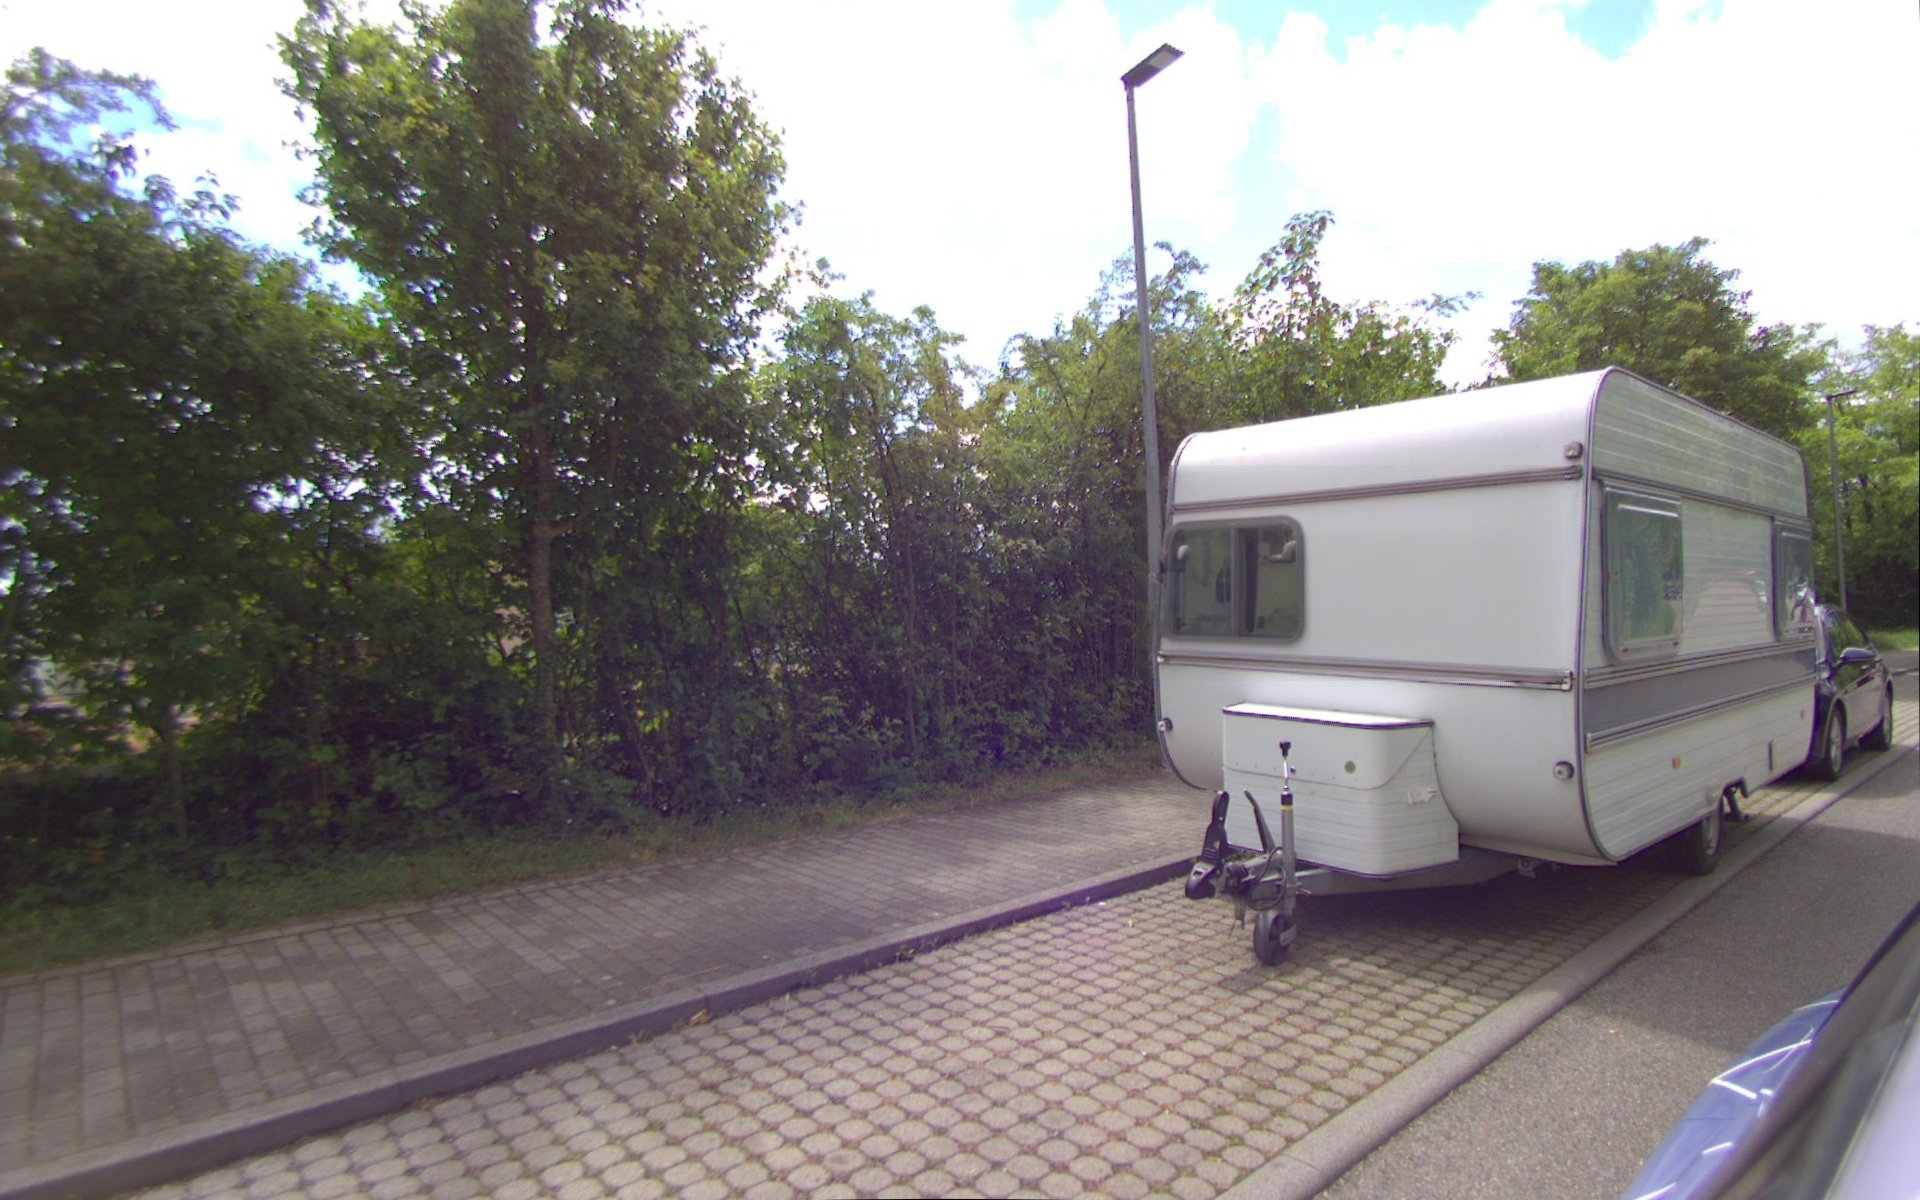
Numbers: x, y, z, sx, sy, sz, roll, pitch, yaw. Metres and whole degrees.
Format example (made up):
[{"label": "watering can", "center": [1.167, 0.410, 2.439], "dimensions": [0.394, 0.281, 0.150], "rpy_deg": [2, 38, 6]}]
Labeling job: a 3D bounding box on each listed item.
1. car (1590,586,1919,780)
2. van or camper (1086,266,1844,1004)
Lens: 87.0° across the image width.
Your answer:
[{"label": "car", "center": [7.808, 0.632, 9.786], "dimensions": [4.402, 1.469, 1.684], "rpy_deg": [-1, -1, -41]}, {"label": "van or camper", "center": [3.314, 0.100, 6.090], "dimensions": [4.986, 2.586, 2.358], "rpy_deg": [-1, 0, -41]}]
